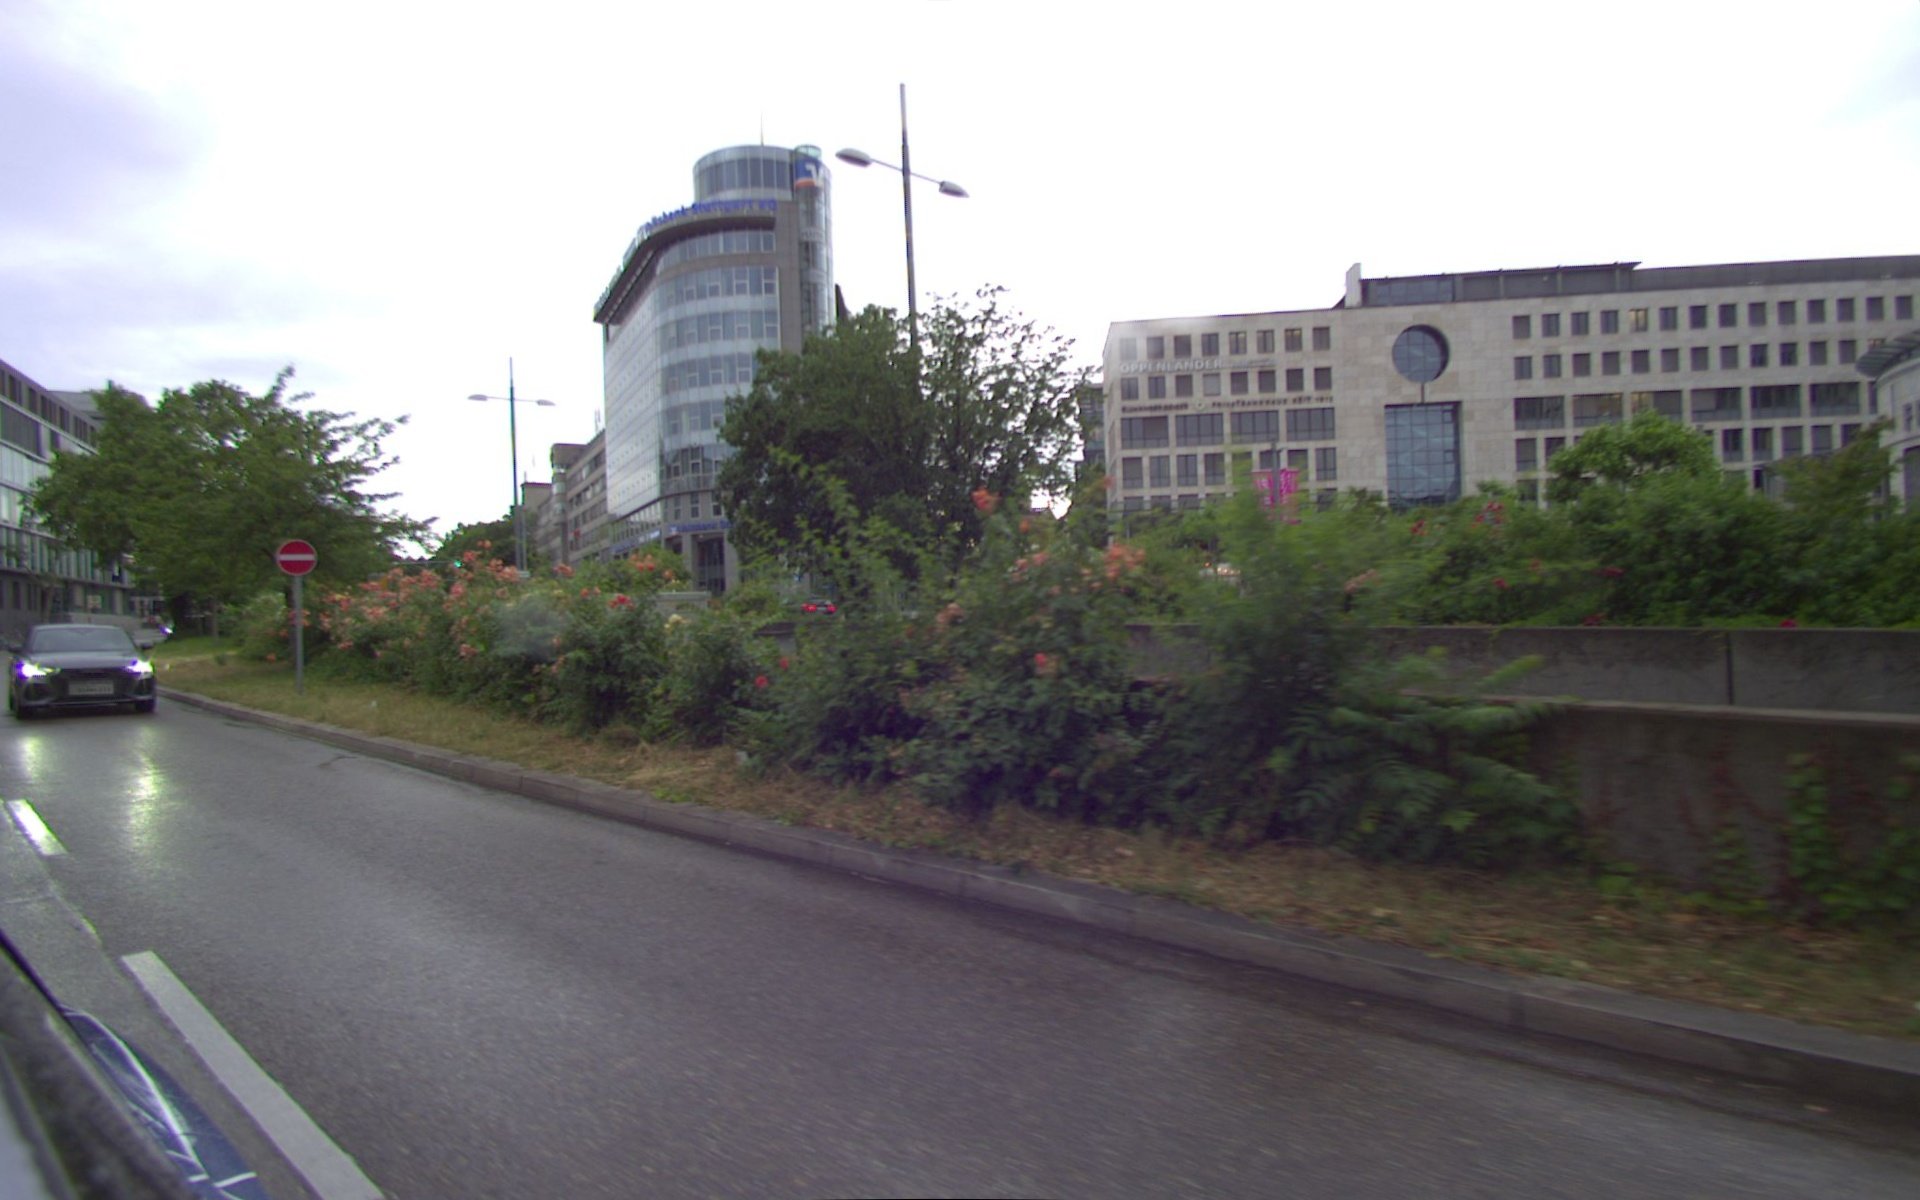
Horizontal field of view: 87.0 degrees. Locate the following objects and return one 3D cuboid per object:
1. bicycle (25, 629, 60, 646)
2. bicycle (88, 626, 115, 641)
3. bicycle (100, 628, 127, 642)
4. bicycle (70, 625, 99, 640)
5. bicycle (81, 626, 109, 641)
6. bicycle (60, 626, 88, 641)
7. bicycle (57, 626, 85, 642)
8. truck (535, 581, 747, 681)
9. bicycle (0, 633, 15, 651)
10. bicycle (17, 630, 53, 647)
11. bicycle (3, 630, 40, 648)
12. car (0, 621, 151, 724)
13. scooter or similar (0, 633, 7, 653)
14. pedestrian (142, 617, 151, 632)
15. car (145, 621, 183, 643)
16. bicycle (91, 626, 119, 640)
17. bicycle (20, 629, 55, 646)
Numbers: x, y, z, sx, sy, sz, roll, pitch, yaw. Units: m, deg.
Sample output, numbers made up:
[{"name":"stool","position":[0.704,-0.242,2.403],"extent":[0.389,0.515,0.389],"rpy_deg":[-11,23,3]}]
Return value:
[{"name":"bicycle","position":[-67.465,2.736,74.446],"extent":[1.770,1.076,0.558],"rpy_deg":[-4,2,-32]},{"name":"bicycle","position":[-73.044,2.821,86.099],"extent":[1.706,1.192,0.691],"rpy_deg":[-1,-1,-33]},{"name":"bicycle","position":[-74.218,3.084,88.710],"extent":[1.706,1.192,0.691],"rpy_deg":[-1,-1,-33]},{"name":"bicycle","position":[-70.899,2.637,81.942],"extent":[1.683,1.149,0.691],"rpy_deg":[-2,1,-33]},{"name":"bicycle","position":[-72.359,2.816,84.664],"extent":[1.706,1.149,0.691],"rpy_deg":[-1,-1,-33]},{"name":"bicycle","position":[-70.381,2.667,80.393],"extent":[1.513,1.149,0.691],"rpy_deg":[-2,1,-33]},{"name":"bicycle","position":[-69.992,2.670,79.685],"extent":[1.513,1.149,0.664],"rpy_deg":[-2,1,-33]},{"name":"truck","position":[-9.801,0.827,30.331],"extent":[3.323,2.529,8.493],"rpy_deg":[-1,0,-38]},{"name":"bicycle","position":[-63.837,2.798,66.981],"extent":[1.770,1.116,0.672],"rpy_deg":[-4,2,-33]},{"name":"bicycle","position":[-66.861,2.762,73.168],"extent":[1.770,1.076,0.558],"rpy_deg":[-4,2,-32]},{"name":"bicycle","position":[-66.242,2.763,71.445],"extent":[1.770,1.116,0.672],"rpy_deg":[-4,2,-33]},{"name":"car","position":[-15.856,1.189,18.071],"extent":[1.839,1.529,4.349],"rpy_deg":[-2,0,-43]},{"name":"scooter or similar","position":[-62.887,2.833,65.375],"extent":[1.768,1.252,0.598],"rpy_deg":[-4,2,-32]},{"name":"pedestrian","position":[-102.162,3.066,127.109],"extent":[0.711,1.844,0.749],"rpy_deg":[0,-1,-29]},{"name":"car","position":[-62.108,2.462,79.002],"extent":[1.770,1.521,4.513],"rpy_deg":[-2,1,-31]},{"name":"bicycle","position":[-73.548,2.832,87.066],"extent":[1.706,1.192,0.691],"rpy_deg":[-1,-1,-33]},{"name":"bicycle","position":[-67.207,2.741,73.743],"extent":[1.770,1.076,0.558],"rpy_deg":[-4,2,-32]}]
